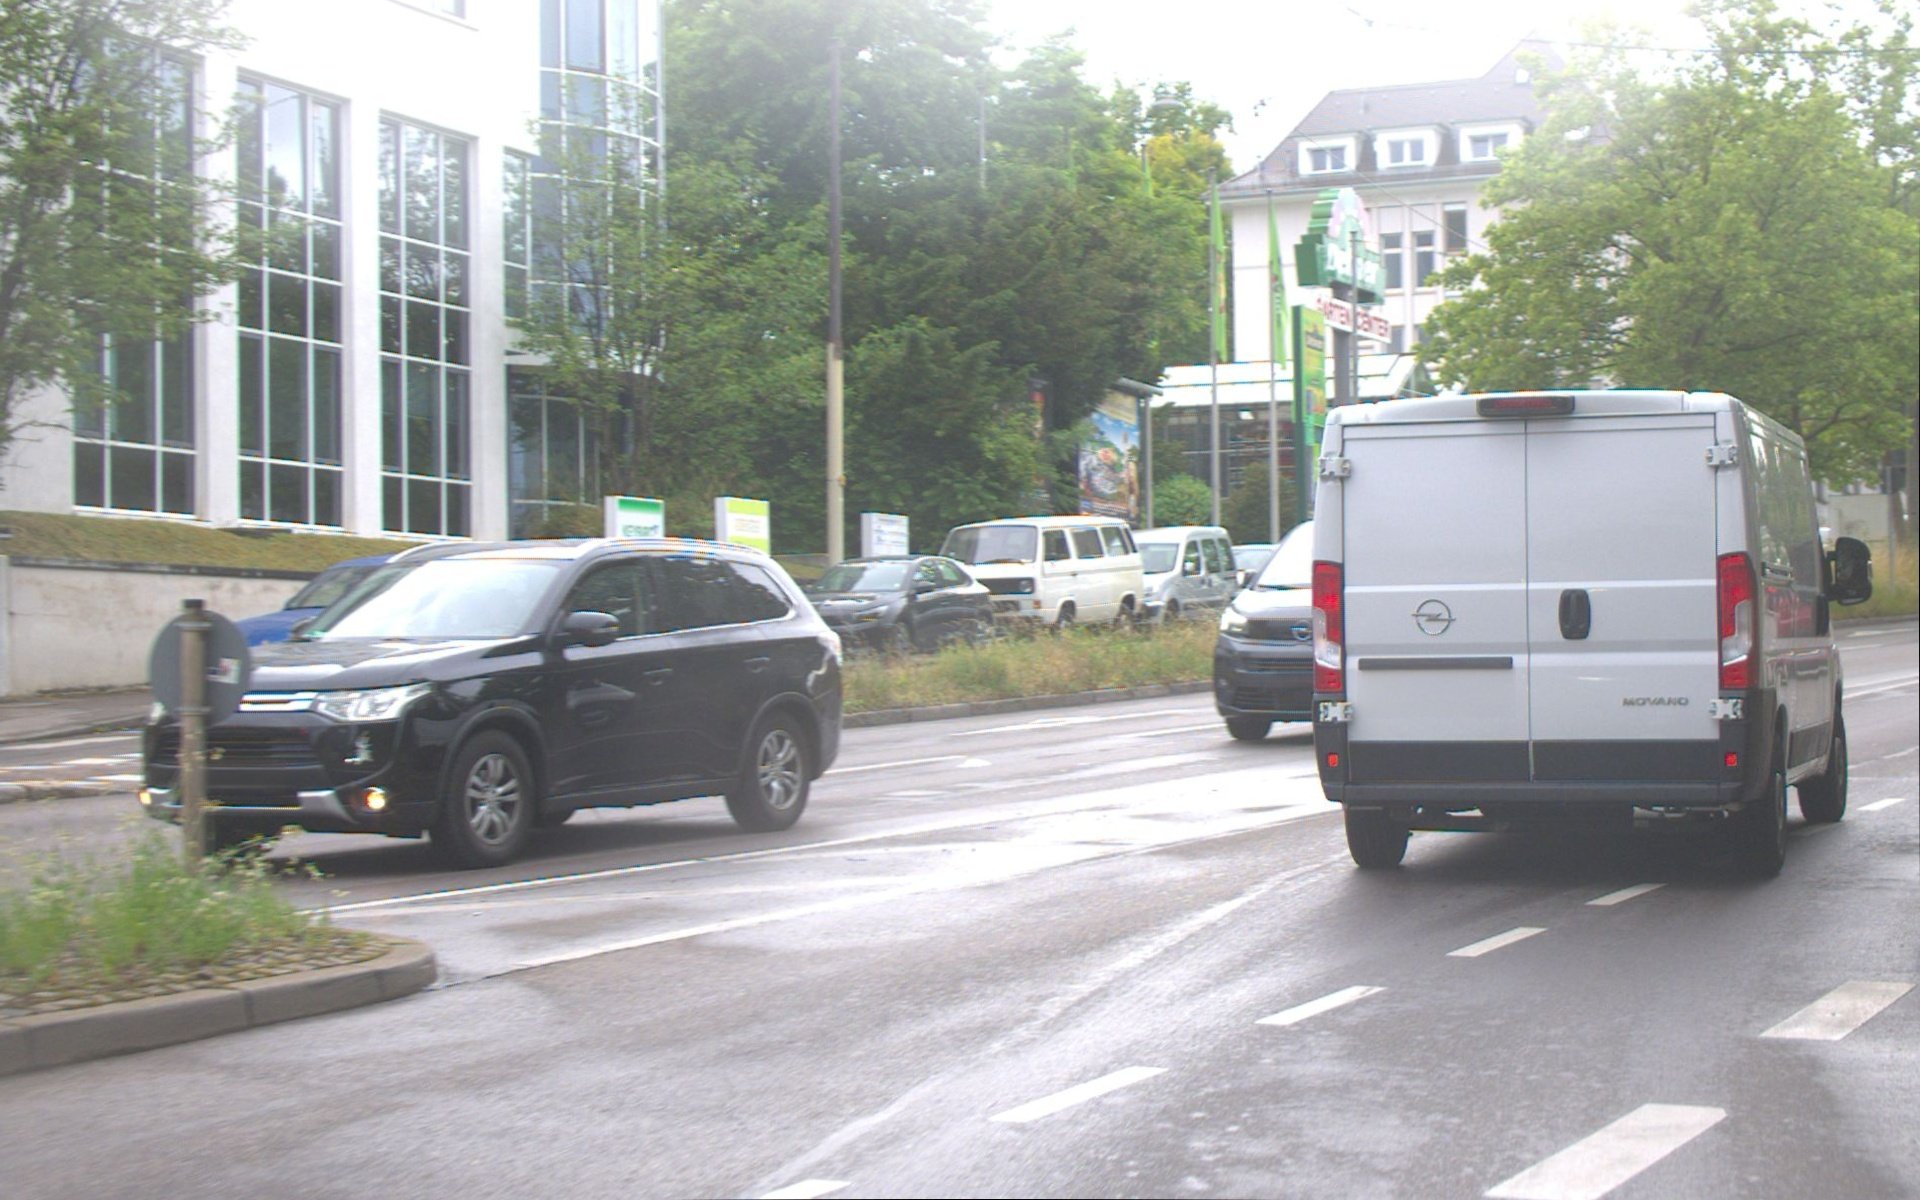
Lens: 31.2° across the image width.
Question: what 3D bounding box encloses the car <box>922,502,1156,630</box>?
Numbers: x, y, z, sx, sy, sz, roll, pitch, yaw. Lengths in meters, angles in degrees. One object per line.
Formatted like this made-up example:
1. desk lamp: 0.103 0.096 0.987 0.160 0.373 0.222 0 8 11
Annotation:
1. car: 1.228 -0.534 50.870 1.773 1.740 4.578 -1 1 24

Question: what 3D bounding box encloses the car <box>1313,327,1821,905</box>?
1. car: 3.257 0.047 17.581 2.051 2.508 4.940 0 0 16

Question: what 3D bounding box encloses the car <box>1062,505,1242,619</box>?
1. car: 3.105 -0.638 54.929 1.594 1.690 3.776 -1 1 24

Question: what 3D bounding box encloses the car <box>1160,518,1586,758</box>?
1. car: 3.646 0.264 29.411 2.017 1.860 5.034 -1 1 26

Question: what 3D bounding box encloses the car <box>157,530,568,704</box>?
1. car: -5.866 0.125 34.383 1.690 1.529 4.666 -1 1 24

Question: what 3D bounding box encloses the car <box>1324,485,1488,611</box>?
1. car: 9.244 -1.112 70.789 1.965 2.435 5.650 -1 1 22

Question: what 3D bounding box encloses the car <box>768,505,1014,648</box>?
1. car: -0.841 -0.339 44.712 1.612 1.716 3.989 -1 1 24

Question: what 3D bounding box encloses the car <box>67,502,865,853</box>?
1. car: -2.413 0.407 18.134 1.691 1.599 4.721 -1 -2 28
